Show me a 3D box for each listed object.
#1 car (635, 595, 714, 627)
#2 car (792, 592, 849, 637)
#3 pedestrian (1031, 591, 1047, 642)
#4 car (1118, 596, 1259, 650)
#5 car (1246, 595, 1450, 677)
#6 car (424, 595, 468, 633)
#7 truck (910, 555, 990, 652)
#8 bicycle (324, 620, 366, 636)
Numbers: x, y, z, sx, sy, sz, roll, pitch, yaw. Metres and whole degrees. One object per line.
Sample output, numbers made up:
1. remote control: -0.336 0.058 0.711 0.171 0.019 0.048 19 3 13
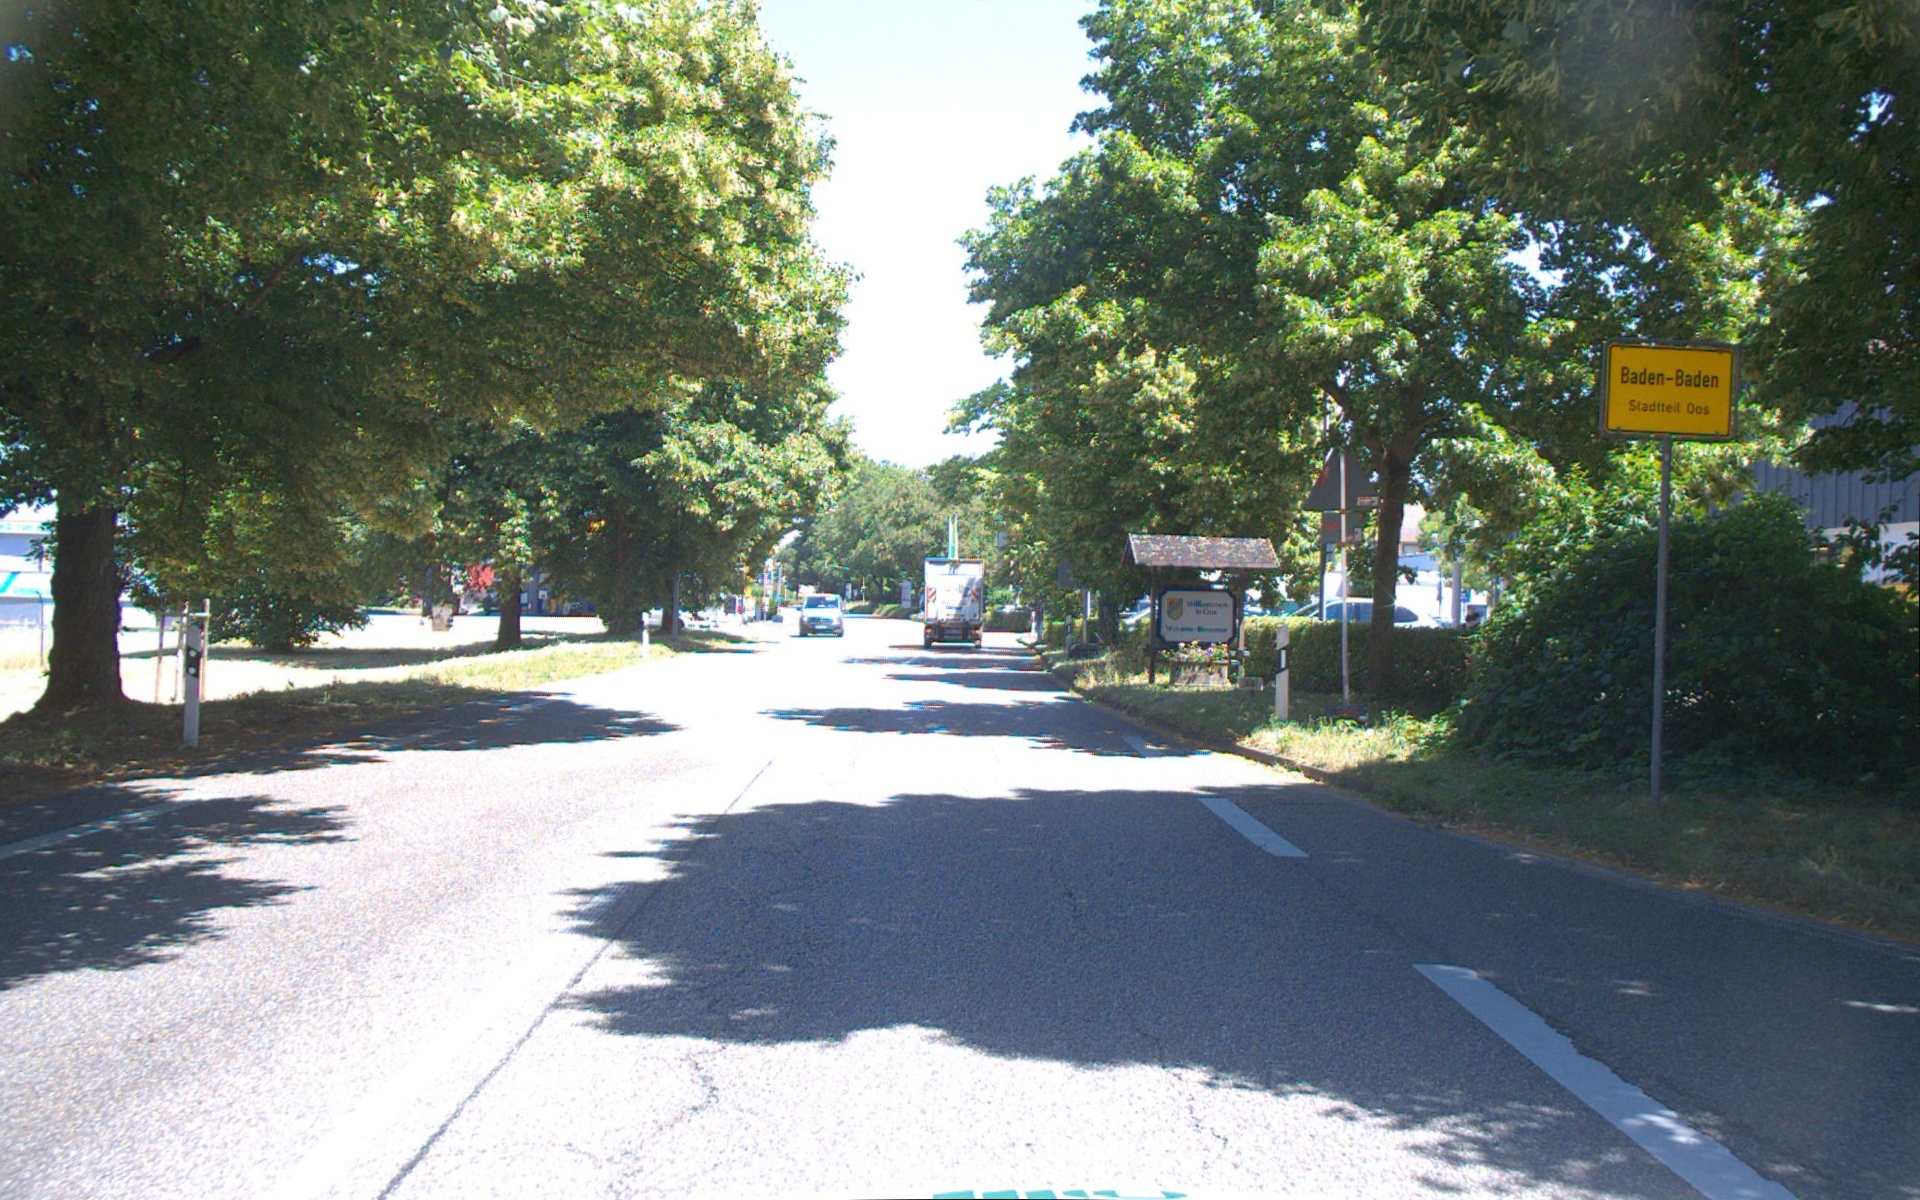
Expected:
1. car: -12.634 0.487 73.128 3.356 1.386 1.333 0 0 28
2. car: -6.159 0.612 72.596 1.958 1.889 5.302 1 0 -11
3. pedestrian: 2.845 0.596 59.486 0.536 1.807 0.577 0 -1 3
4. car: 6.926 0.691 50.477 4.023 1.604 1.866 0 0 -2
5. car: 8.169 0.742 35.019 3.855 1.592 1.797 2 0 -2
6. car: -22.360 0.582 72.084 1.708 1.613 3.983 1 0 -16
7. truck: -0.293 0.086 57.815 2.481 3.190 5.363 0 1 3
8. bicycle: -26.403 1.191 71.036 1.640 0.657 0.424 0 0 -7
